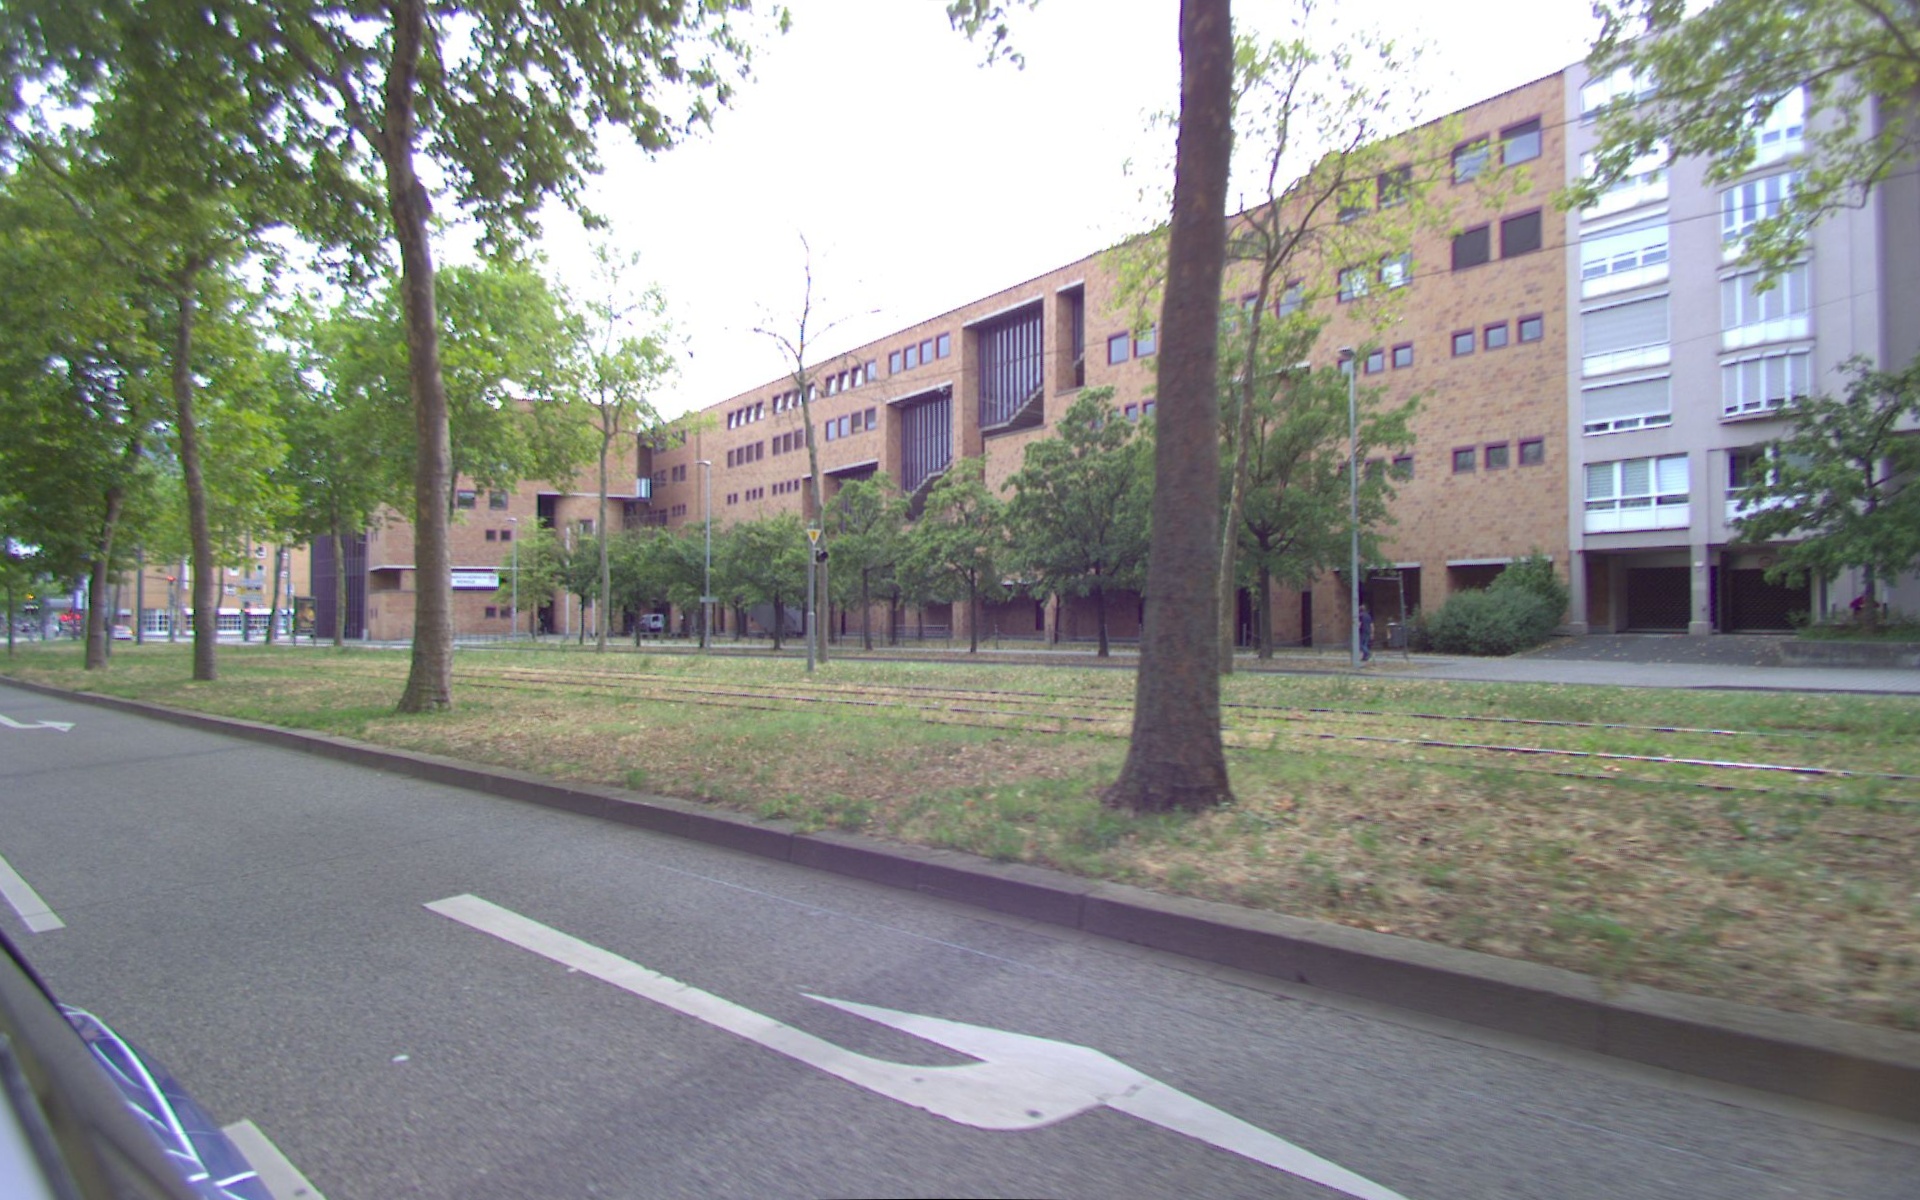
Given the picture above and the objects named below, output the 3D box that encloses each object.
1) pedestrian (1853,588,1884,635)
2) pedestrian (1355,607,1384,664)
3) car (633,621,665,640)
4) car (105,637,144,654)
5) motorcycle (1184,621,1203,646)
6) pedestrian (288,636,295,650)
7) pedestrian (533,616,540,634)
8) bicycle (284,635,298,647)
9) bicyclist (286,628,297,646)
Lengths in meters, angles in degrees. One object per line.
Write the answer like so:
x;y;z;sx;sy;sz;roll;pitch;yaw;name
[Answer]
25.920;0.340;28.885;0.451;1.333;0.555;1;-2;-39;pedestrian
12.491;1.082;30.887;0.626;1.718;0.546;-2;-2;45;pedestrian
-31.599;3.112;102.747;1.868;1.821;4.008;1;-2;-38;car
-74.469;4.018;90.173;4.653;1.432;1.766;-2;-2;39;car
11.749;1.683;50.843;0.790;1.200;2.185;-1;-2;17;motorcycle
-84.813;5.405;128.416;0.542;1.745;0.533;-2;-2;38;pedestrian
-36.665;2.200;87.635;0.500;1.543;0.521;0;-2;-35;pedestrian
-62.091;3.825;93.945;2.093;1.092;0.660;-2;-2;43;bicycle
-62.087;3.433;93.941;0.984;1.603;0.657;-3;-3;43;bicyclist
